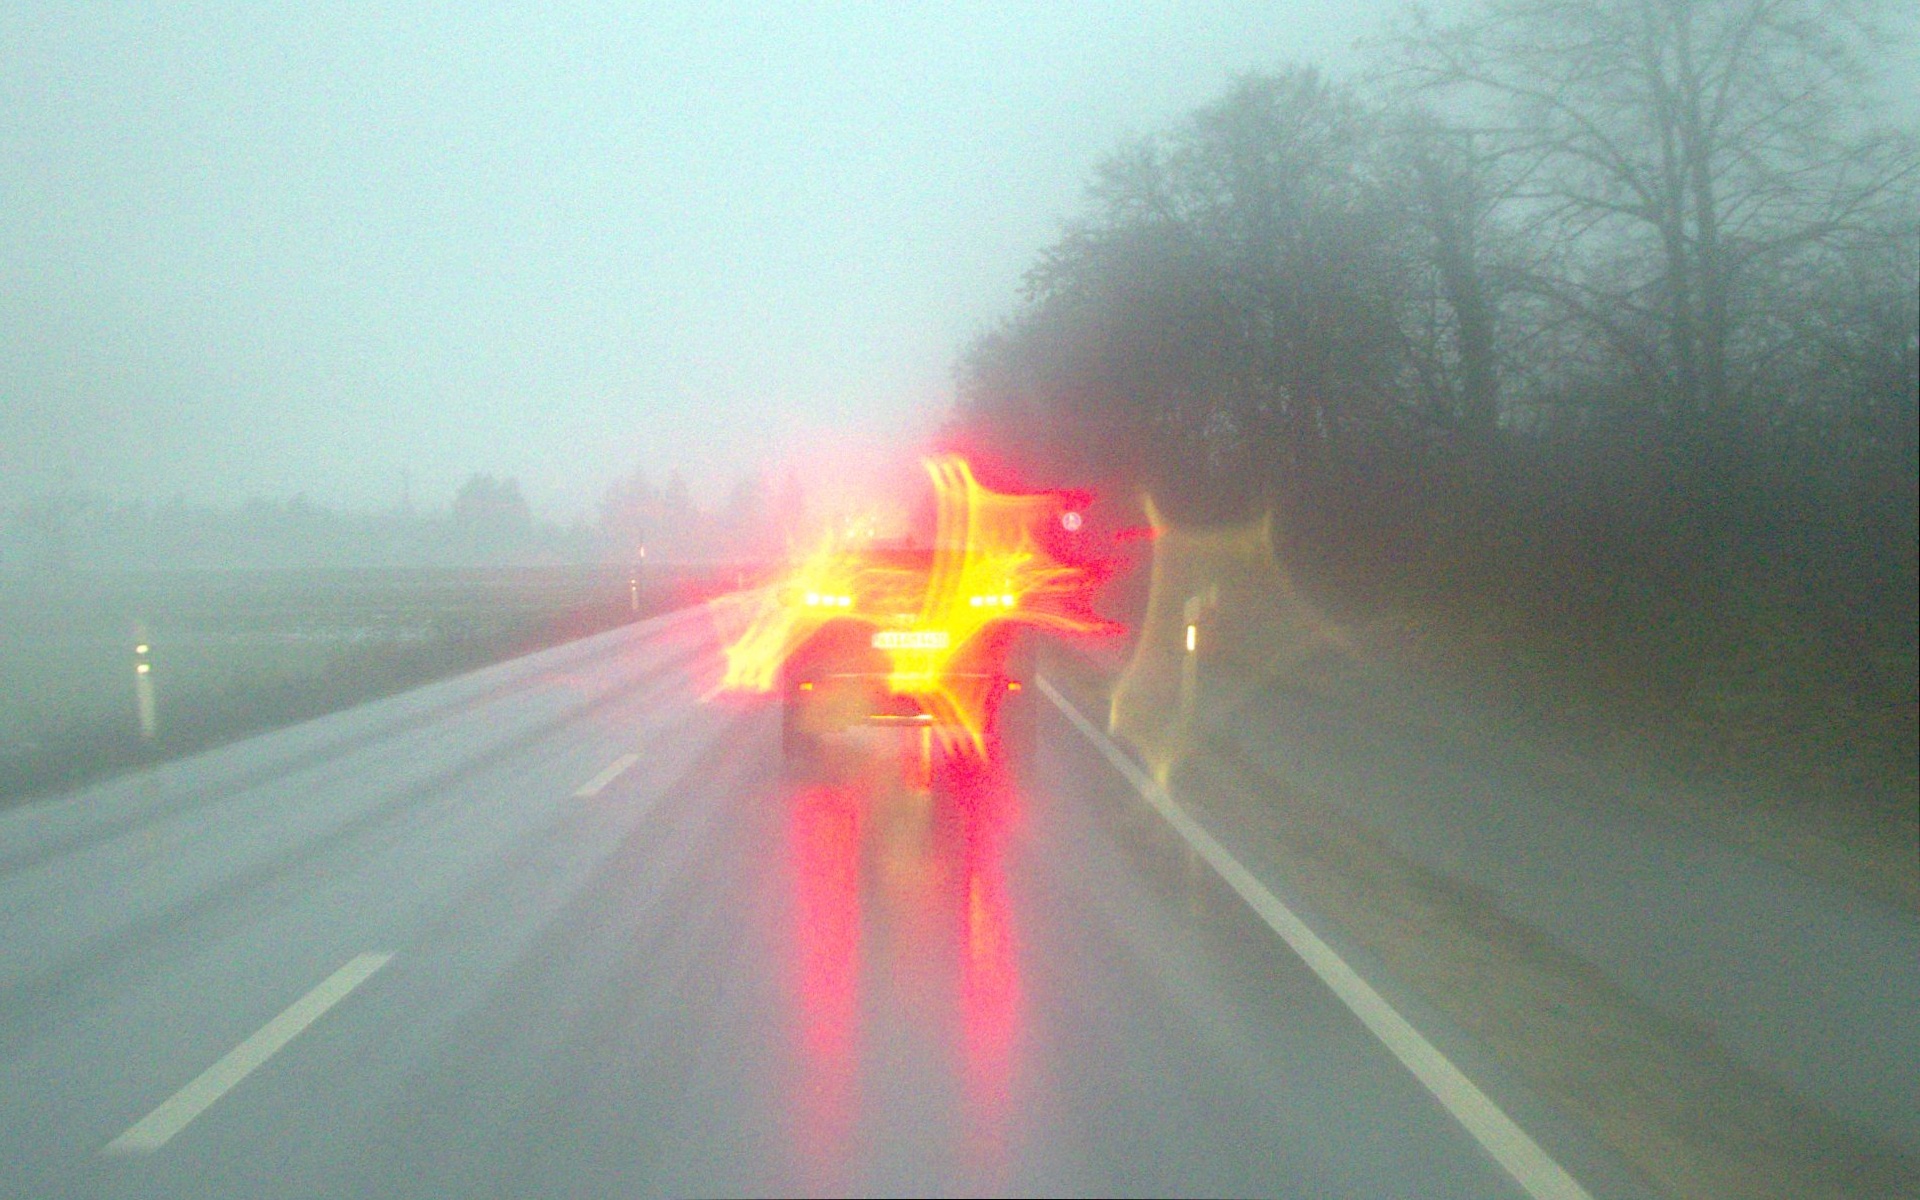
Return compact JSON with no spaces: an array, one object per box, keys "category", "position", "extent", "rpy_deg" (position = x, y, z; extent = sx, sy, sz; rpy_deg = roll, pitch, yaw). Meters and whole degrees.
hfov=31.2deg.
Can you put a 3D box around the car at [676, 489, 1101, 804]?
[{"category":"car","position":[-0.503,0.280,25.981],"extent":[2.820,2.070,5.804],"rpy_deg":[1,1,0]}]

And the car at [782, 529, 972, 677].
[{"category":"car","position":[-1.171,0.004,50.486],"extent":[2.592,2.007,5.804],"rpy_deg":[1,1,0]}]
